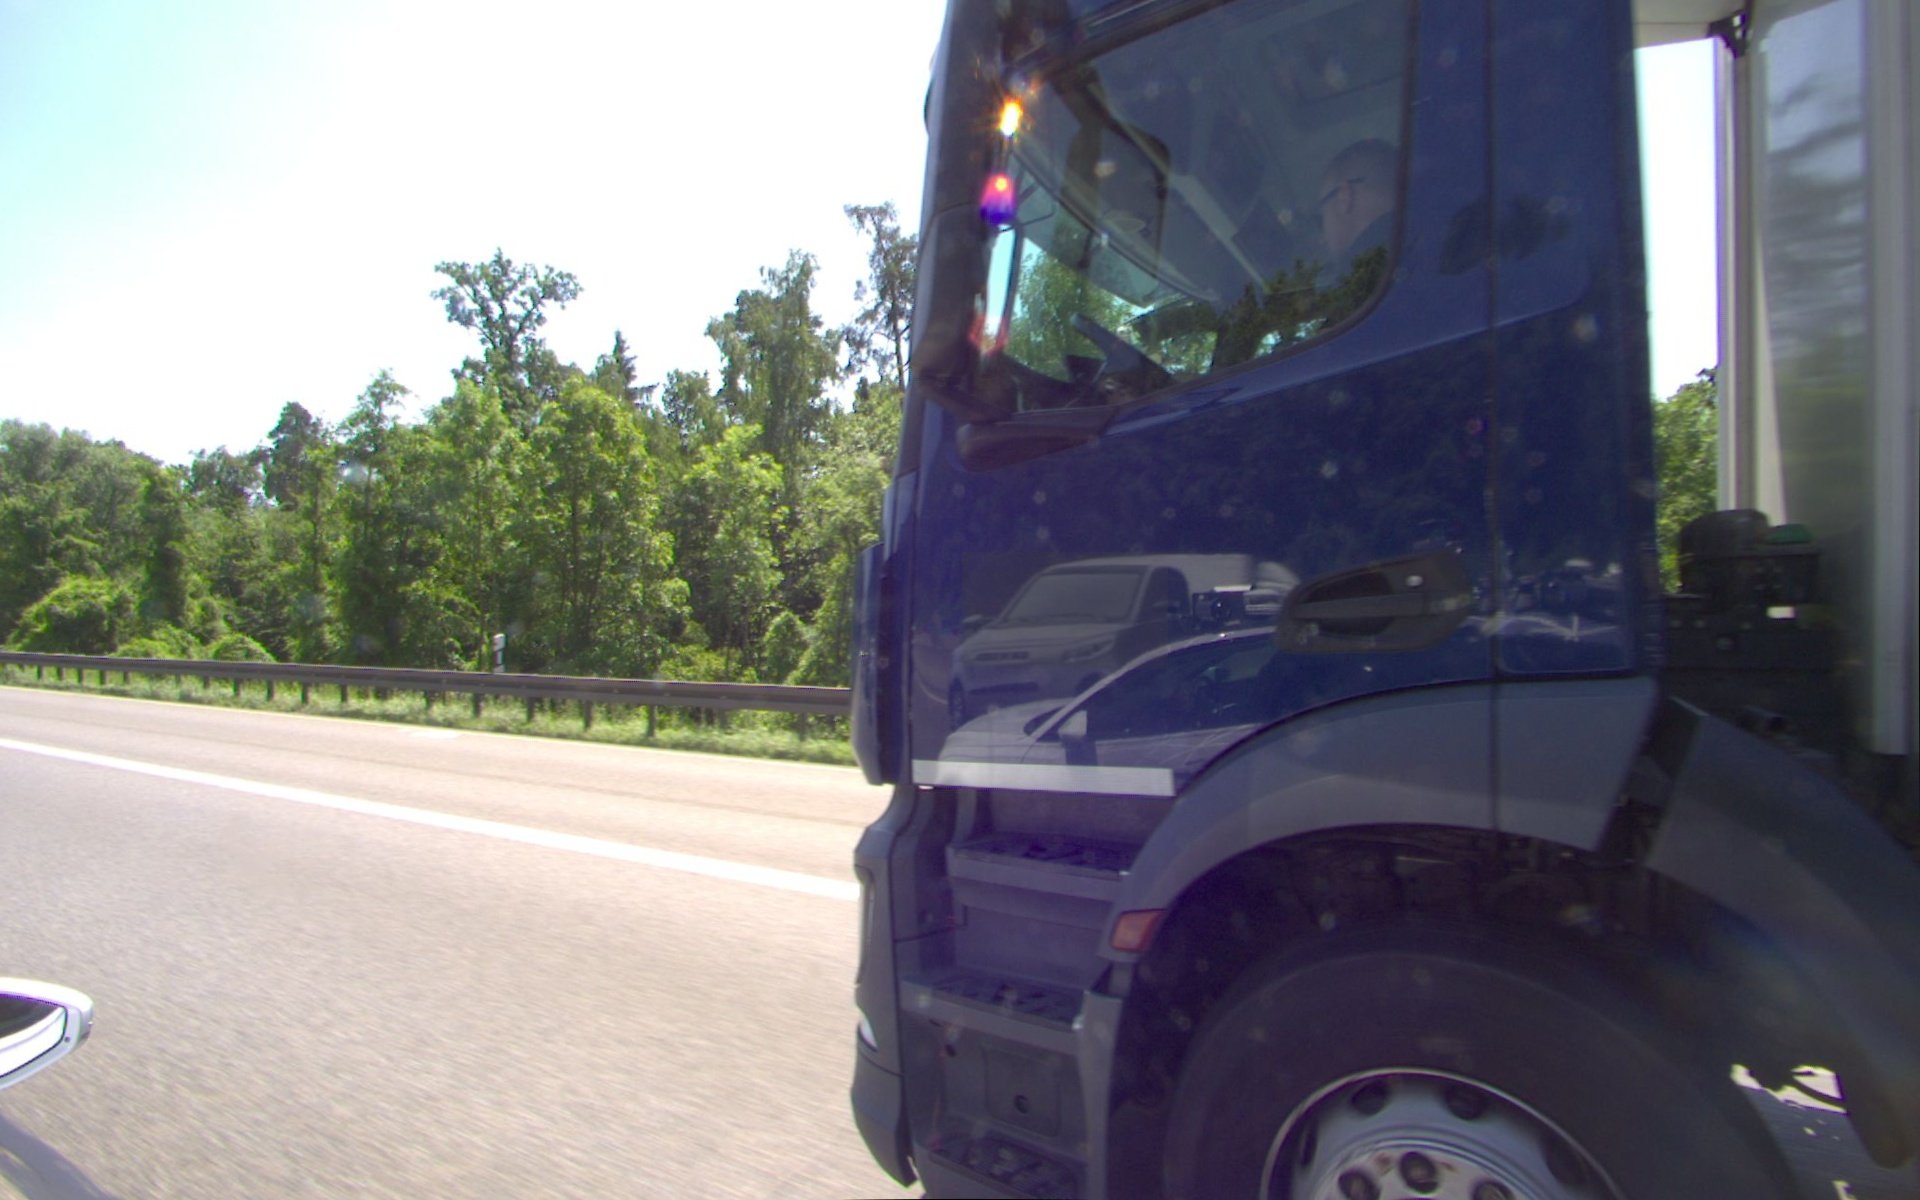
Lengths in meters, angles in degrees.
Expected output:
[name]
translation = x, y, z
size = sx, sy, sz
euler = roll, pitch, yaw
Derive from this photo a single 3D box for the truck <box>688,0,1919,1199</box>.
[truck]
translation = 1.844, 0.013, 2.126
size = 4.044, 2.979, 2.552
euler = -2, -1, 30
